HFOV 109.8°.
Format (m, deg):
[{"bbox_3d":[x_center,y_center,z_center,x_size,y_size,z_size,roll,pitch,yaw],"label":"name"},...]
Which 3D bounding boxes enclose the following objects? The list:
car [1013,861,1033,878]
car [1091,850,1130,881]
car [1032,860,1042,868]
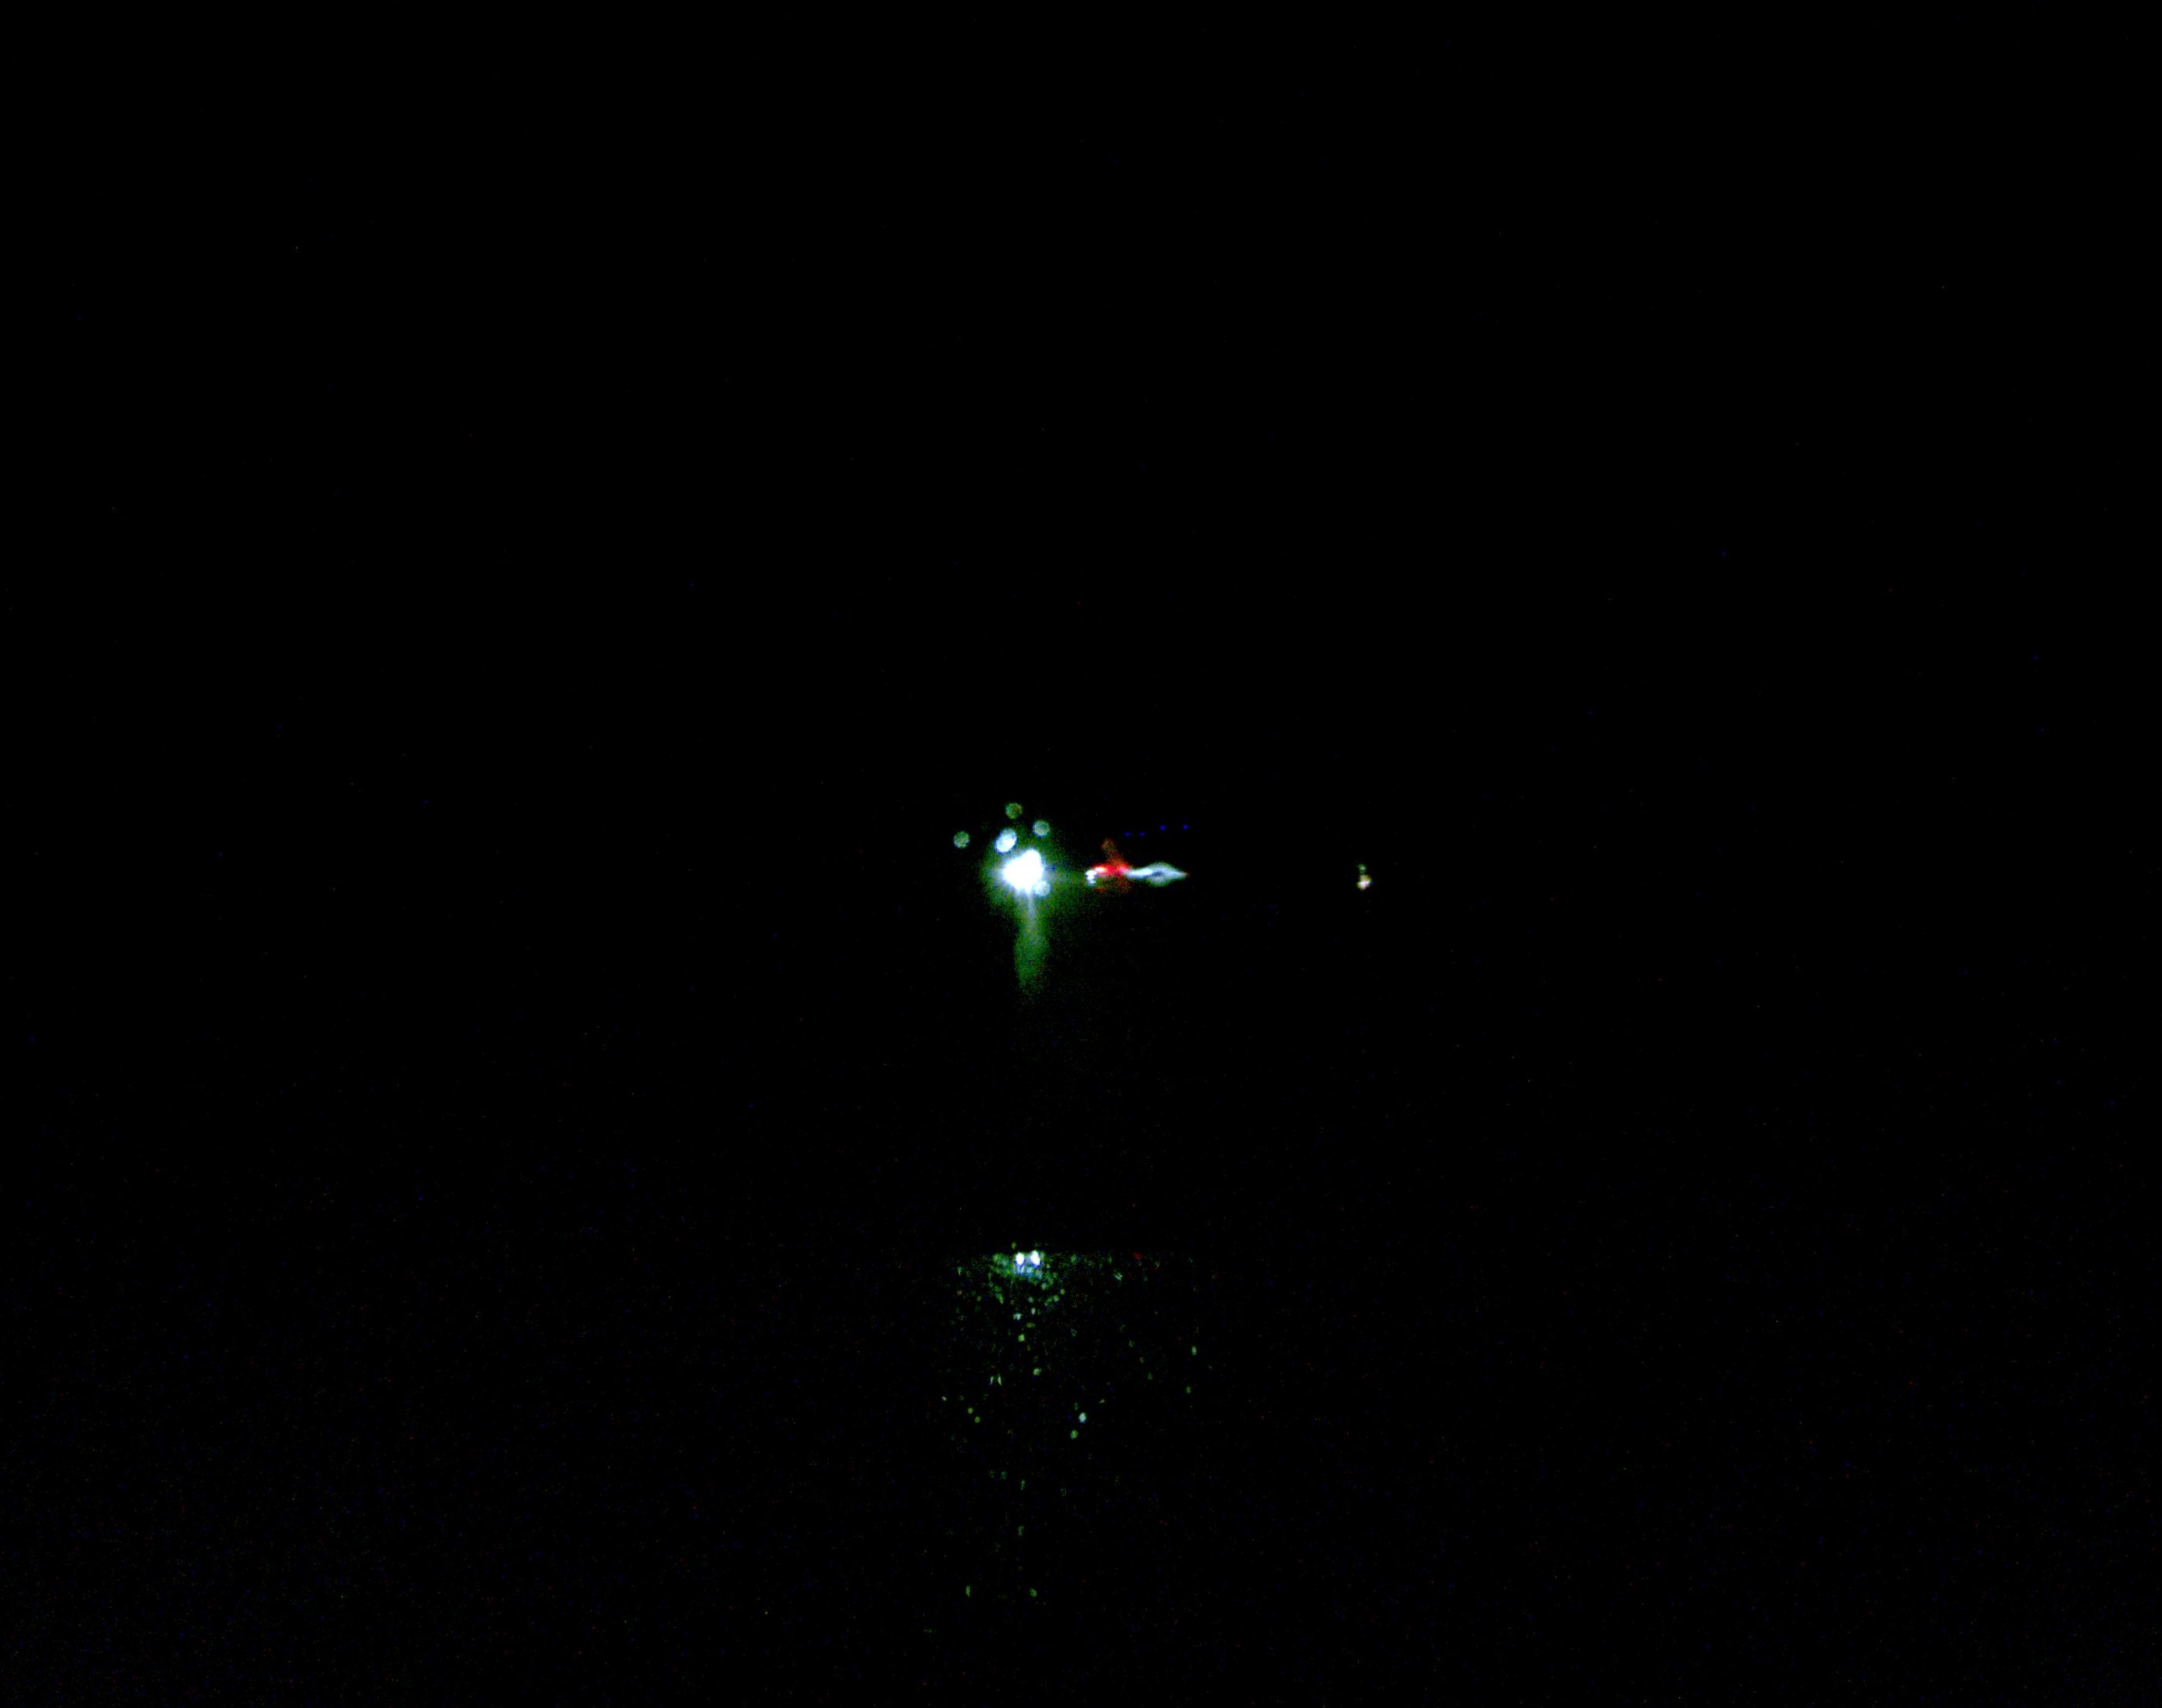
[{"bbox_3d":[-6.484,1.732,84.152,2.000,1.724,3.998,4,-1,-6],"label":"car"},{"bbox_3d":[1.742,0.653,46.725,1.999,1.683,4.696,-1,1,-2],"label":"car"},{"bbox_3d":[-9.393,2.121,161.681,2.000,1.814,4.560,-1,0,-7],"label":"car"}]
